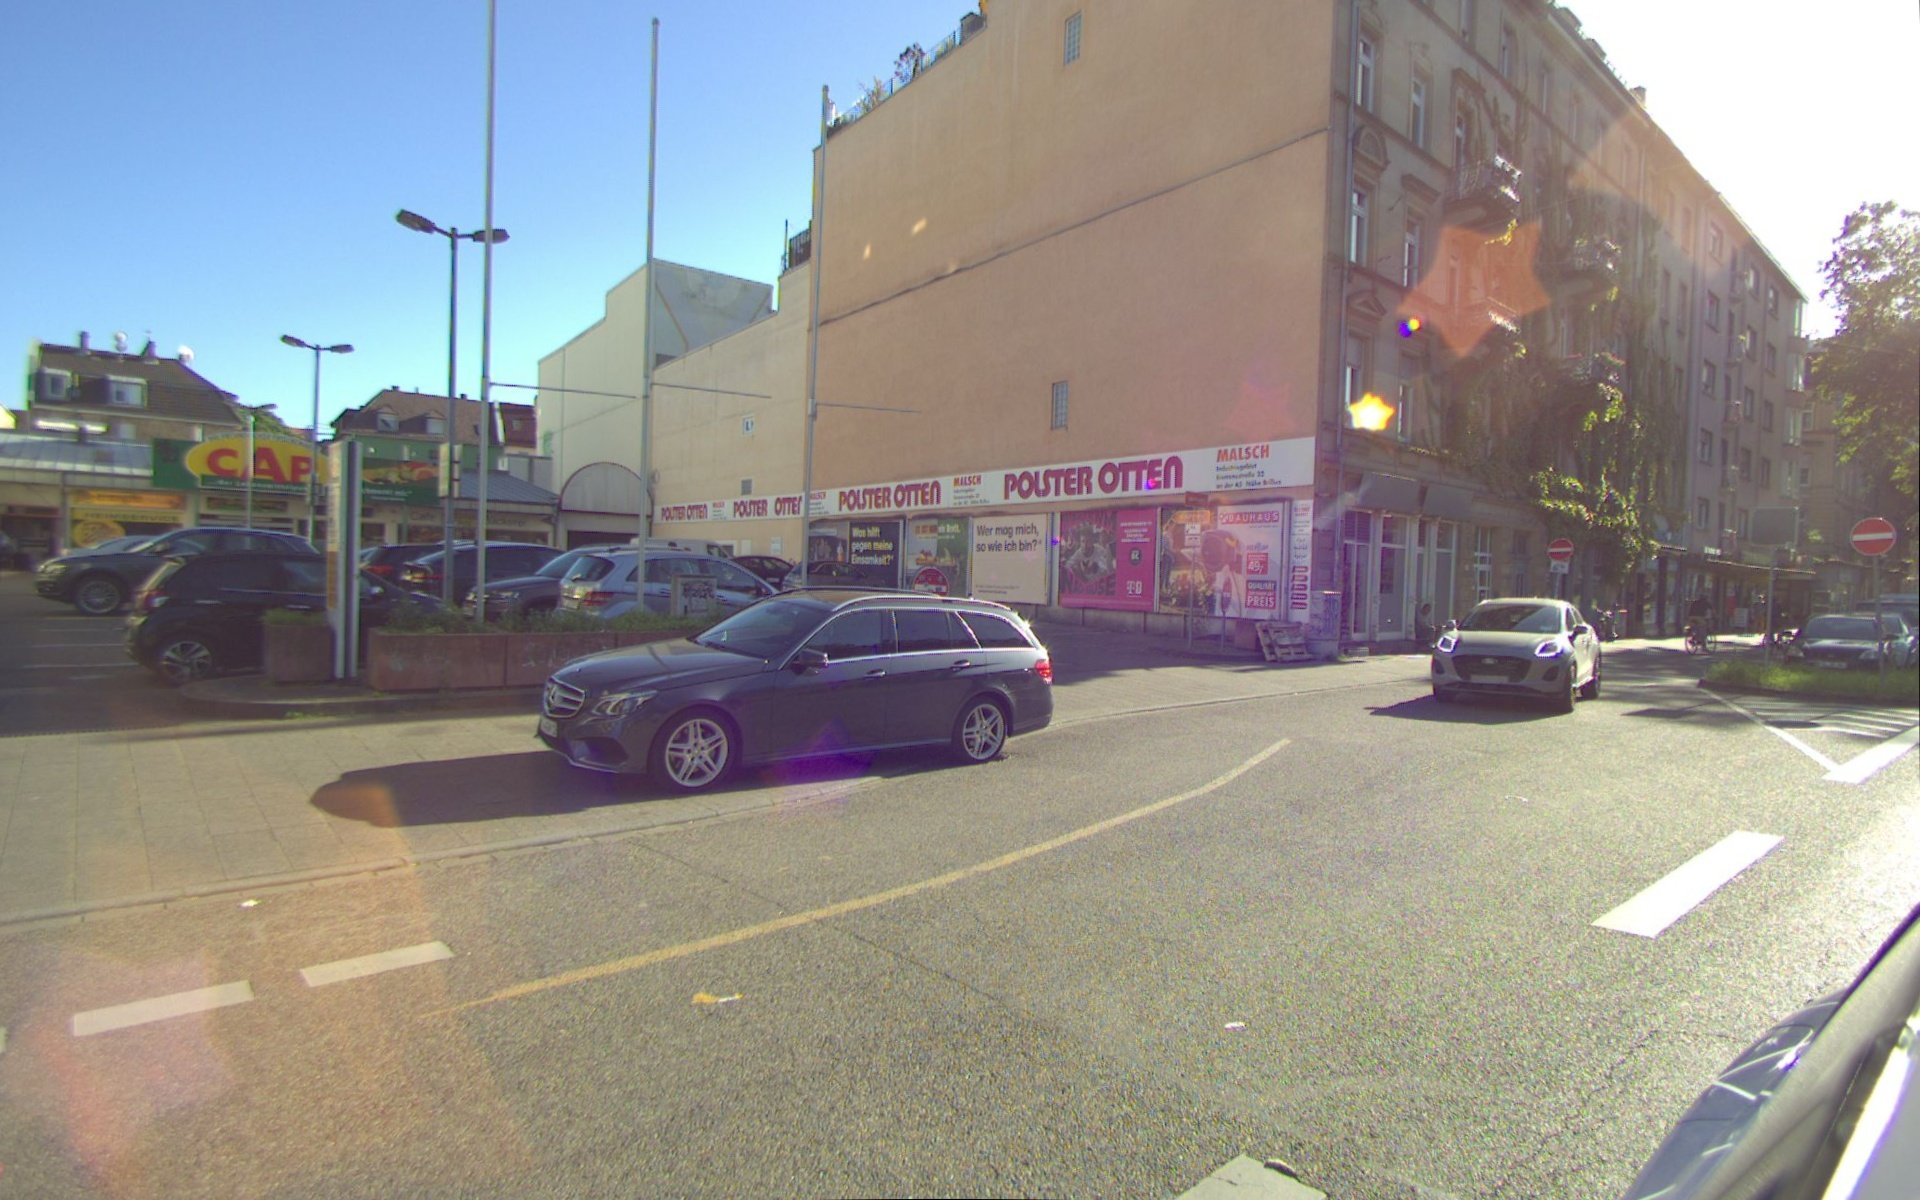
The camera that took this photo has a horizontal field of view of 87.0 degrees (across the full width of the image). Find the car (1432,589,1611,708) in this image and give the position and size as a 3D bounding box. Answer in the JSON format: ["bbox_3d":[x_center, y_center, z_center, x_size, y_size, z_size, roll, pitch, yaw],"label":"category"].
[{"bbox_3d":[8.758,0.631,15.591,1.695,1.547,4.319,1,1,39],"label":"car"}]

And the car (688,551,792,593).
[{"bbox_3d":[-8.555,-1.101,39.387,3.575,1.552,1.682,-1,3,-35],"label":"car"}]

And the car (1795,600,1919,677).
[{"bbox_3d":[19.683,0.777,22.164,3.932,1.537,1.642,0,-1,-43],"label":"car"}]

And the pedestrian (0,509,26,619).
[{"bbox_3d":[-15.707,-0.585,16.374,0.509,1.777,0.754,2,1,30],"label":"pedestrian"}]

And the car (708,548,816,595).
[{"bbox_3d":[-7.338,-1.070,37.597,3.575,1.690,1.682,-1,3,-35],"label":"car"}]

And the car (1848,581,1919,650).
[{"bbox_3d":[26.714,0.418,28.584,3.929,1.785,1.868,0,2,-40],"label":"car"}]

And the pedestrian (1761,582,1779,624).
[{"bbox_3d":[35.918,0.136,44.870,0.507,1.856,0.469,1,1,-41],"label":"pedestrian"}]

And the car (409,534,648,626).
[{"bbox_3d":[-8.095,-0.373,19.172,3.871,1.563,1.544,0,2,-43],"label":"car"}]

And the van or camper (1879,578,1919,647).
[{"bbox_3d":[30.830,0.400,32.124,5.006,2.038,1.887,0,2,-42],"label":"van or camper"}]

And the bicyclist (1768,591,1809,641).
[{"bbox_3d":[25.662,0.497,31.344,1.161,1.463,0.678,1,5,-41],"label":"bicyclist"}]

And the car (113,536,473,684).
[{"bbox_3d":[-7.825,0.073,12.030,3.339,1.504,1.559,0,2,-45],"label":"car"}]

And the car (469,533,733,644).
[{"bbox_3d":[-6.128,-0.212,17.521,3.933,1.714,1.747,0,2,-44],"label":"car"}]

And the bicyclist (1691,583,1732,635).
[{"bbox_3d":[22.172,0.243,29.849,0.934,1.480,0.746,0,1,-39],"label":"bicyclist"}]

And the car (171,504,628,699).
[{"bbox_3d":[-5.700,0.003,10.586,3.839,1.665,1.652,2,2,-45],"label":"car"}]

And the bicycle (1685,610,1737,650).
[{"bbox_3d":[22.177,0.871,29.869,1.918,1.116,0.758,1,1,-39],"label":"bicycle"}]

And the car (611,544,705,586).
[{"bbox_3d":[-14.289,-1.637,47.968,3.967,1.823,1.664,1,2,-30],"label":"car"}]

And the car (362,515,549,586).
[{"bbox_3d":[-12.540,-1.202,25.258,3.870,1.601,1.659,0,2,-42],"label":"car"}]

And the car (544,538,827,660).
[{"bbox_3d":[-4.199,-0.049,15.850,3.934,1.665,1.746,0,2,-45],"label":"car"}]

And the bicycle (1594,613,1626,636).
[{"bbox_3d":[21.081,0.795,32.805,1.486,0.714,0.469,1,1,-41],"label":"bicycle"}]

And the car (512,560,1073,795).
[{"bbox_3d":[-1.295,0.515,9.086,4.650,1.505,1.838,0,4,-40],"label":"car"}]

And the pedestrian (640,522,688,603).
[{"bbox_3d":[-7.701,-0.964,26.326,0.907,2.039,0.818,1,1,-40],"label":"pedestrian"}]

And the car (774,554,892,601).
[{"bbox_3d":[-4.218,-0.784,33.825,3.579,1.481,1.680,-1,3,-39],"label":"car"}]

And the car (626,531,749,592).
[{"bbox_3d":[-11.656,-1.626,43.401,4.788,2.442,1.712,1,2,-33],"label":"car"}]

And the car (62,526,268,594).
[{"bbox_3d":[-19.833,-0.966,25.361,3.930,1.538,1.725,0,2,-41],"label":"car"}]

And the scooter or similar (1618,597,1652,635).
[{"bbox_3d":[22.501,0.511,33.766,0.631,1.188,1.720,2,2,25],"label":"scooter or similar"}]

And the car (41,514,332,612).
[{"bbox_3d":[-14.768,-0.666,19.513,4.306,1.687,1.758,0,2,-41],"label":"car"}]

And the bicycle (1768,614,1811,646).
[{"bbox_3d":[25.755,0.925,31.415,1.883,0.931,0.651,1,2,-40],"label":"bicycle"}]

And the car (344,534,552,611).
[{"bbox_3d":[-11.306,-0.597,22.490,3.870,1.563,1.544,0,2,-42],"label":"car"}]

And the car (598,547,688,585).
[{"bbox_3d":[-15.709,-1.688,50.145,3.967,1.758,1.664,1,2,-30],"label":"car"}]

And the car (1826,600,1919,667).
[{"bbox_3d":[22.930,0.765,25.095,3.932,1.537,1.740,0,-1,-43],"label":"car"}]
